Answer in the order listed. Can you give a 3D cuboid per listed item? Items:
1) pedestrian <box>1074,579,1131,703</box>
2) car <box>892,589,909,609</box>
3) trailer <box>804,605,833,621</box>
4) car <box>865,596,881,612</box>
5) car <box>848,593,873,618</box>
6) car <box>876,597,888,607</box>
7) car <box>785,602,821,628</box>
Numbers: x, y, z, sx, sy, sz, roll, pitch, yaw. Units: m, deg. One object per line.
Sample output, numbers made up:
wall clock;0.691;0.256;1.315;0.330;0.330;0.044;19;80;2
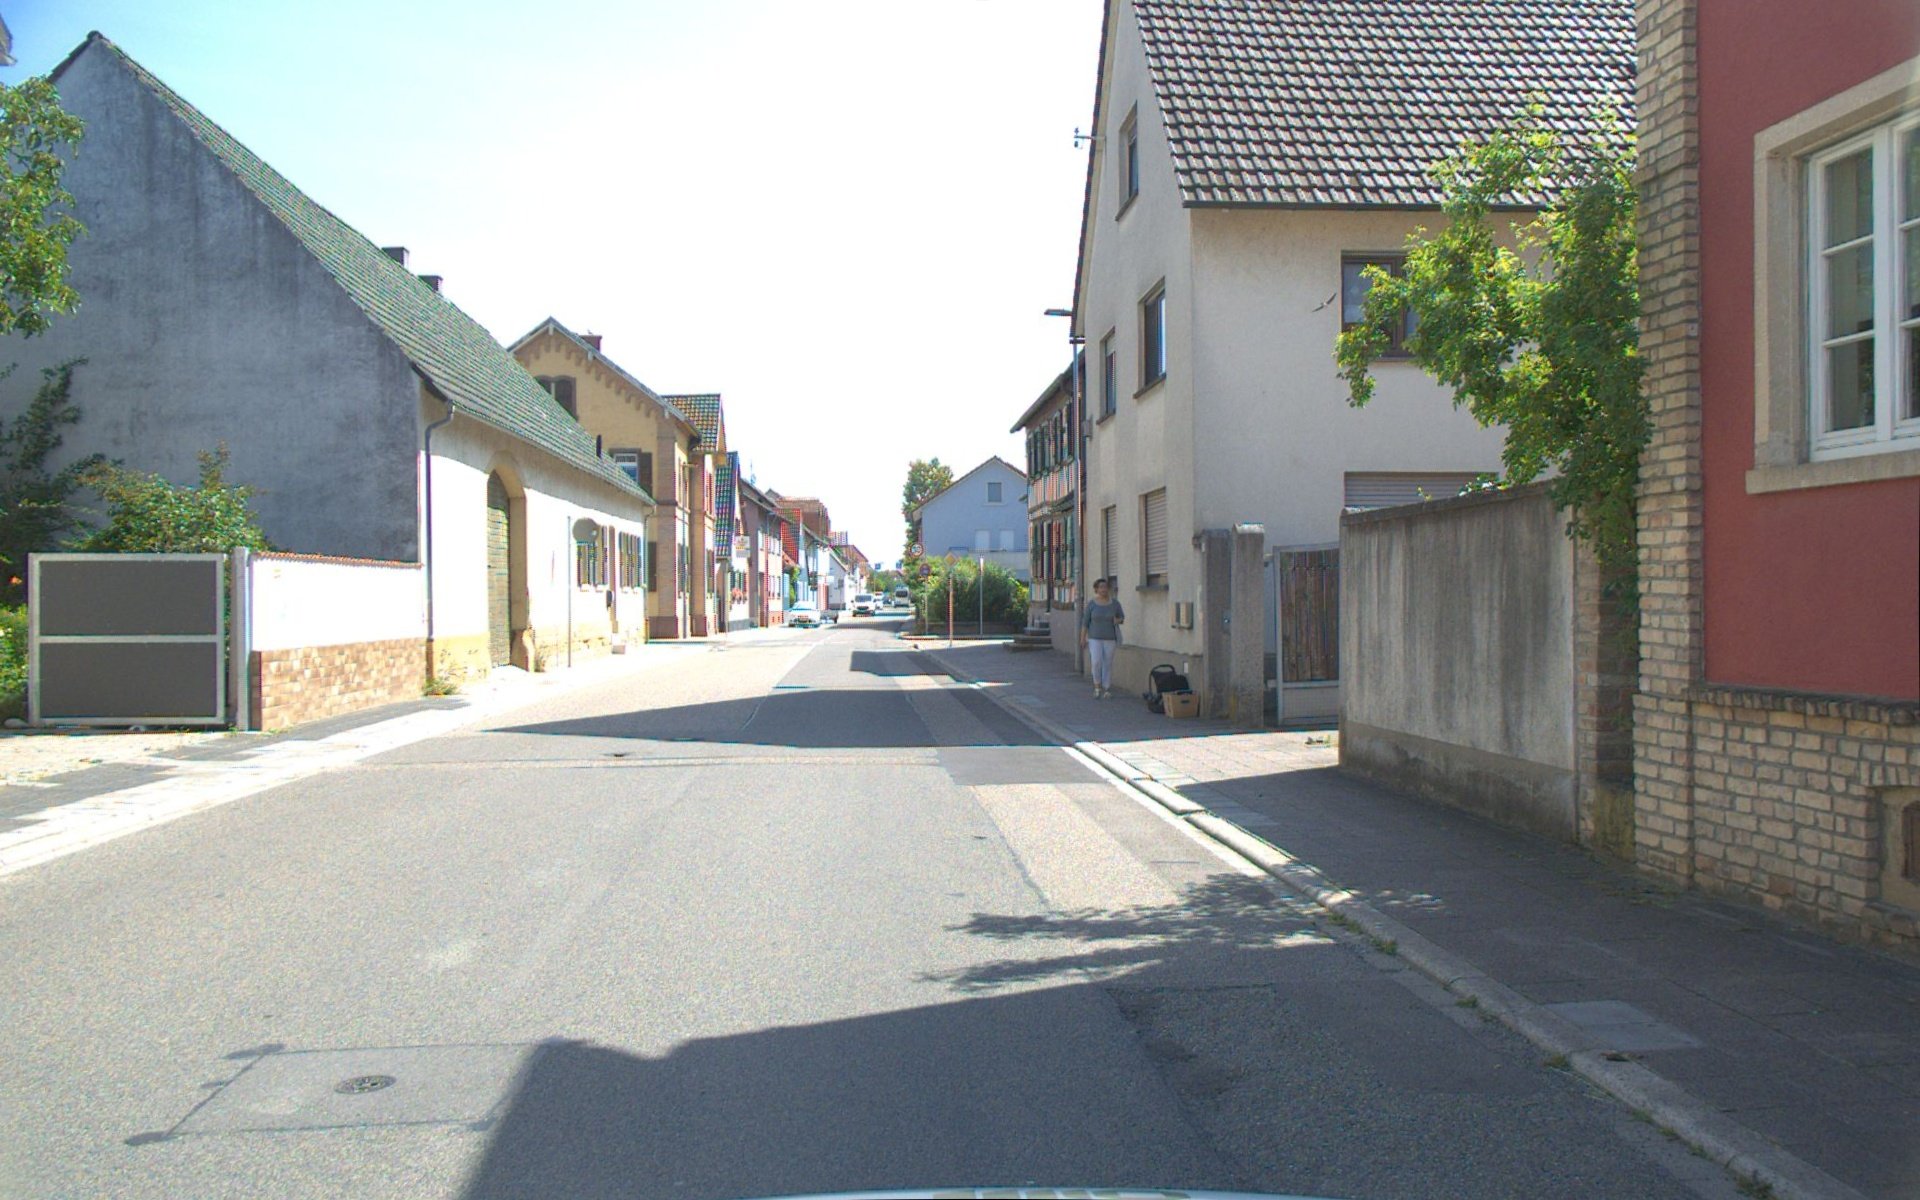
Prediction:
pedestrian;1.983;0.561;23.105;0.704;1.693;0.892;0;0;0
car;-7.639;-0.134;212.741;1.977;2.612;3.997;-1;0;-4
trailer;-9.897;0.888;115.970;1.954;1.109;3.996;0;0;-4
car;-10.405;0.465;197.758;1.954;1.780;3.998;0;0;-3
car;-8.862;0.518;147.427;2.116;2.116;3.996;-1;-1;-4
car;-12.034;0.310;255.744;1.830;1.571;3.835;-2;0;-4
car;-9.409;0.898;99.448;1.954;1.467;3.997;-1;0;-3
